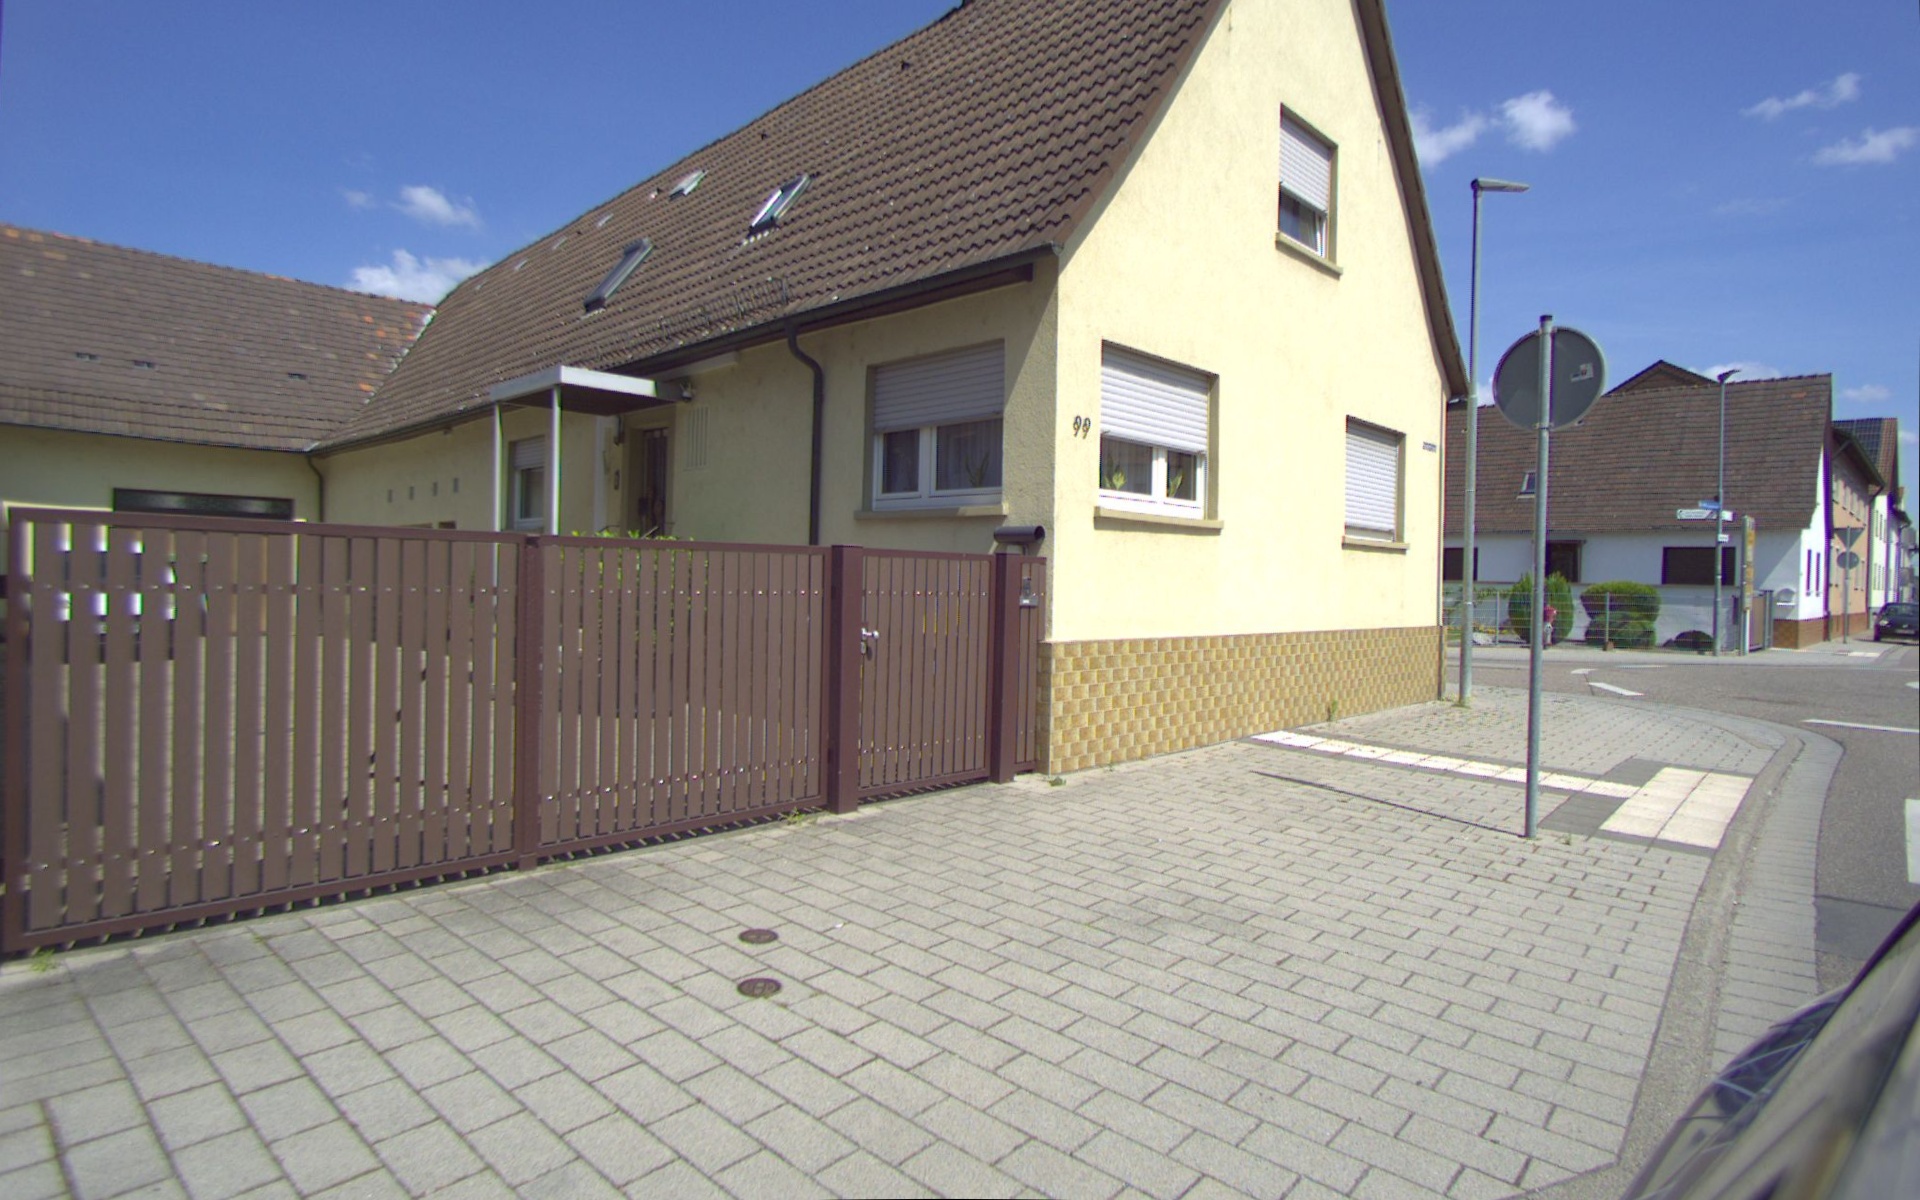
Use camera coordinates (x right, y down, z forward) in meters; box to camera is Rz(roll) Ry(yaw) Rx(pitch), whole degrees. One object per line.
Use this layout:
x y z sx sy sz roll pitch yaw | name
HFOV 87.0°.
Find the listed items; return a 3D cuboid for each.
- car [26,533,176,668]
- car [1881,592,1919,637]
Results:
-14.267 0.005 16.733 1.715 1.964 3.991 -1 0 -43 | car
33.628 0.510 35.524 1.687 1.481 3.570 5 3 45 | car
